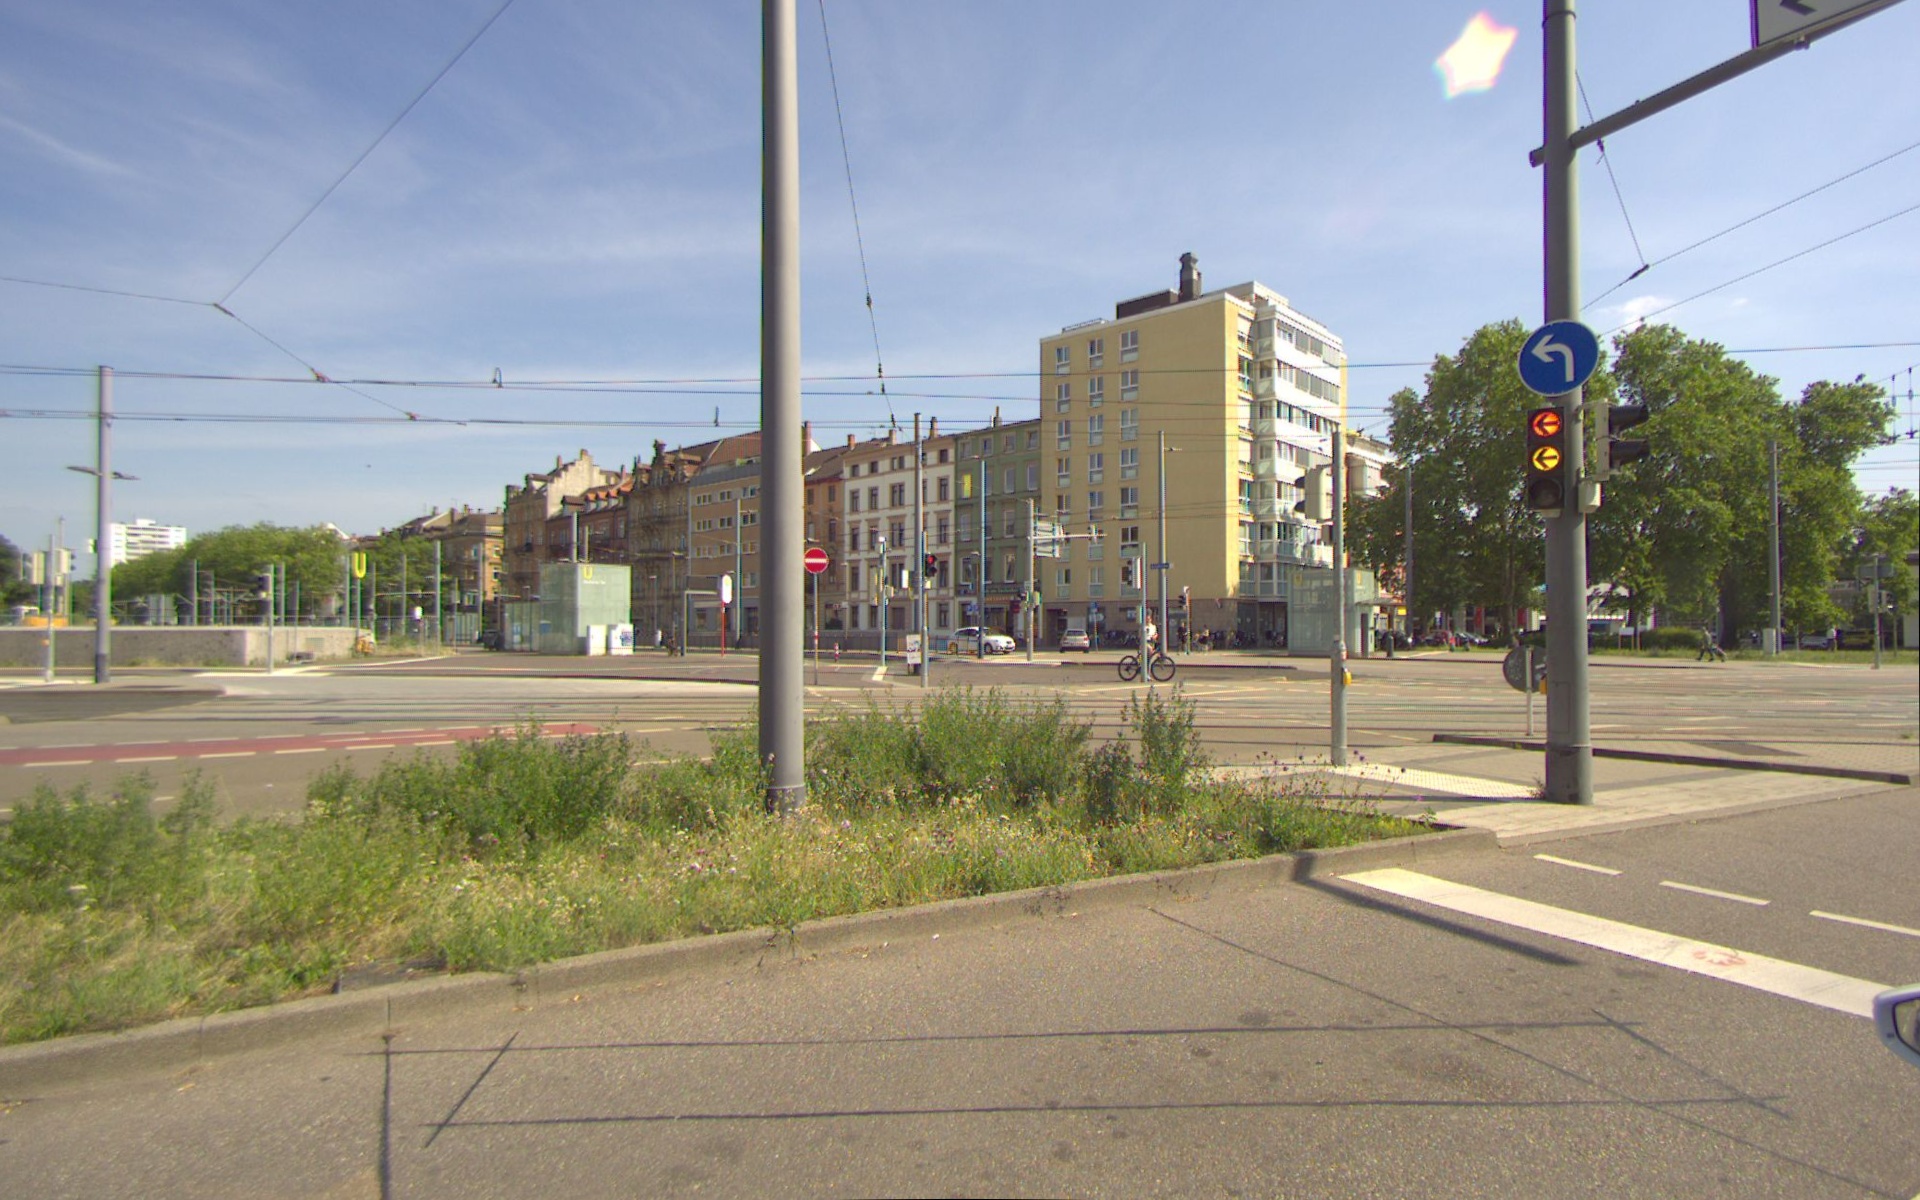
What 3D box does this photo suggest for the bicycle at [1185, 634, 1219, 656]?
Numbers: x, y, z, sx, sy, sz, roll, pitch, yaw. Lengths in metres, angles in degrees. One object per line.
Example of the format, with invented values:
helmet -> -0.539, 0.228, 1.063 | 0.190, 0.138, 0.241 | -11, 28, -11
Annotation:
bicycle -> 13.029, 2.412, 54.027 | 1.775, 1.145, 0.749 | 1, -2, -30

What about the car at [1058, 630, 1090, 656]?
car -> 7.013, 2.665, 62.071 | 1.777, 1.458, 4.004 | 1, -4, 4

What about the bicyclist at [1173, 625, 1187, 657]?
bicyclist -> 12.113, 2.261, 55.272 | 0.575, 1.757, 0.615 | -2, -3, 37

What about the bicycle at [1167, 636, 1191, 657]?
bicycle -> 12.091, 2.575, 55.440 | 0.575, 1.145, 1.790 | -2, -3, 37

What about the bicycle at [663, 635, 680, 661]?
bicycle -> -13.172, 2.181, 45.898 | 0.408, 1.085, 1.651 | 0, 0, -28

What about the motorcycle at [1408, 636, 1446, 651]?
motorcycle -> 28.325, 2.634, 60.950 | 1.997, 0.853, 0.641 | 0, -1, 4

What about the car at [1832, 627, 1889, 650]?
car -> 71.652, 3.089, 79.956 | 3.946, 1.706, 1.988 | 2, 0, -25

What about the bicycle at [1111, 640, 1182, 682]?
bicycle -> 5.047, 1.646, 27.269 | 0.745, 1.098, 1.828 | 2, -4, -40

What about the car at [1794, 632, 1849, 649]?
car -> 70.178, 3.275, 81.816 | 3.946, 1.261, 1.988 | 2, 0, -25

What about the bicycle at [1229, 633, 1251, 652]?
bicycle -> 18.359, 2.785, 65.761 | 0.534, 1.201, 1.878 | -1, -2, 45

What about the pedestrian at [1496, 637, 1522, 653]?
pedestrian -> 32.301, 2.650, 59.105 | 1.159, 0.904, 0.818 | -1, -2, 41

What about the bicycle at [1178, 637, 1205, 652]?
bicycle -> 15.309, 2.944, 66.344 | 0.579, 0.978, 1.736 | 0, -2, -41

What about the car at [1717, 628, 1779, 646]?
car -> 70.333, 3.244, 89.704 | 1.977, 1.572, 3.967 | 1, -2, -31

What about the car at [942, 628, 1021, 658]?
car -> 1.128, 2.279, 53.667 | 4.067, 1.417, 1.749 | -1, 1, 43

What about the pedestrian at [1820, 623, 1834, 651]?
pedestrian -> 52.226, 2.228, 60.488 | 0.455, 1.617, 0.393 | 2, 0, -6

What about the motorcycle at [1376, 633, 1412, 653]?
motorcycle -> 24.790, 2.456, 57.377 | 0.631, 1.076, 2.028 | 0, -2, -22

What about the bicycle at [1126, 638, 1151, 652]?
bicycle -> 12.233, 3.052, 68.706 | 0.579, 0.928, 1.737 | 0, -2, -39

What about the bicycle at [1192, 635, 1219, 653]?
bicycle -> 15.873, 2.858, 64.977 | 0.578, 1.100, 1.740 | -3, 0, -34

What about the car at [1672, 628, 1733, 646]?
car -> 66.633, 3.304, 90.186 | 1.976, 1.390, 3.968 | 2, 0, -30

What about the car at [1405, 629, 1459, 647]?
car -> 38.906, 3.134, 82.877 | 3.684, 1.358, 1.733 | 1, 0, 44

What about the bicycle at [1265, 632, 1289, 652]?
bicycle -> 20.464, 2.723, 64.853 | 1.740, 1.235, 0.578 | 0, -1, -37

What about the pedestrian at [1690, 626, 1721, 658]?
pedestrian -> 34.218, 1.913, 46.084 | 1.100, 1.422, 0.654 | 2, 0, 39

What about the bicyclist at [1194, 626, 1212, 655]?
bicyclist -> 13.073, 2.179, 54.030 | 0.605, 1.593, 0.728 | 1, -3, -29

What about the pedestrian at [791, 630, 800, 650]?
pedestrian -> -13.682, 3.318, 83.698 | 0.518, 1.687, 0.551 | -2, -2, 43

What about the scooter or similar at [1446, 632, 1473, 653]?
scooter or similar -> 27.094, 2.315, 54.523 | 0.509, 1.134, 1.358 | 0, -1, -19

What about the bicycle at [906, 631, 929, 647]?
bicycle -> -3.033, 2.745, 71.240 | 0.589, 1.109, 1.738 | 0, -2, 43

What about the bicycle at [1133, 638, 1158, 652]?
bicycle -> 12.742, 3.068, 68.938 | 0.579, 0.928, 1.737 | 0, -2, -39

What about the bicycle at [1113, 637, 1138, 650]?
bicycle -> 11.541, 3.037, 70.036 | 1.733, 0.928, 0.580 | -2, -2, 44

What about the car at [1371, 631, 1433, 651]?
car -> 33.768, 3.120, 76.773 | 3.945, 1.287, 1.733 | 1, 0, 44

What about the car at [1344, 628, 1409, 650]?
car -> 30.517, 2.834, 73.669 | 3.945, 1.459, 1.879 | 1, 0, 44

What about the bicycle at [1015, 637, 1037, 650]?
bicycle -> 4.996, 3.297, 76.302 | 1.755, 0.977, 0.412 | -2, 0, 43

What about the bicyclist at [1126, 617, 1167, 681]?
bicyclist -> 5.048, 1.330, 27.261 | 0.745, 1.706, 0.768 | 2, -4, -40

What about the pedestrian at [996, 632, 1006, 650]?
pedestrian -> 3.204, 3.180, 78.288 | 0.637, 1.392, 0.524 | -1, -2, 43

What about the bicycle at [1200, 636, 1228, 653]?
bicycle -> 16.501, 2.866, 65.202 | 0.579, 1.056, 1.737 | 0, -2, -40
